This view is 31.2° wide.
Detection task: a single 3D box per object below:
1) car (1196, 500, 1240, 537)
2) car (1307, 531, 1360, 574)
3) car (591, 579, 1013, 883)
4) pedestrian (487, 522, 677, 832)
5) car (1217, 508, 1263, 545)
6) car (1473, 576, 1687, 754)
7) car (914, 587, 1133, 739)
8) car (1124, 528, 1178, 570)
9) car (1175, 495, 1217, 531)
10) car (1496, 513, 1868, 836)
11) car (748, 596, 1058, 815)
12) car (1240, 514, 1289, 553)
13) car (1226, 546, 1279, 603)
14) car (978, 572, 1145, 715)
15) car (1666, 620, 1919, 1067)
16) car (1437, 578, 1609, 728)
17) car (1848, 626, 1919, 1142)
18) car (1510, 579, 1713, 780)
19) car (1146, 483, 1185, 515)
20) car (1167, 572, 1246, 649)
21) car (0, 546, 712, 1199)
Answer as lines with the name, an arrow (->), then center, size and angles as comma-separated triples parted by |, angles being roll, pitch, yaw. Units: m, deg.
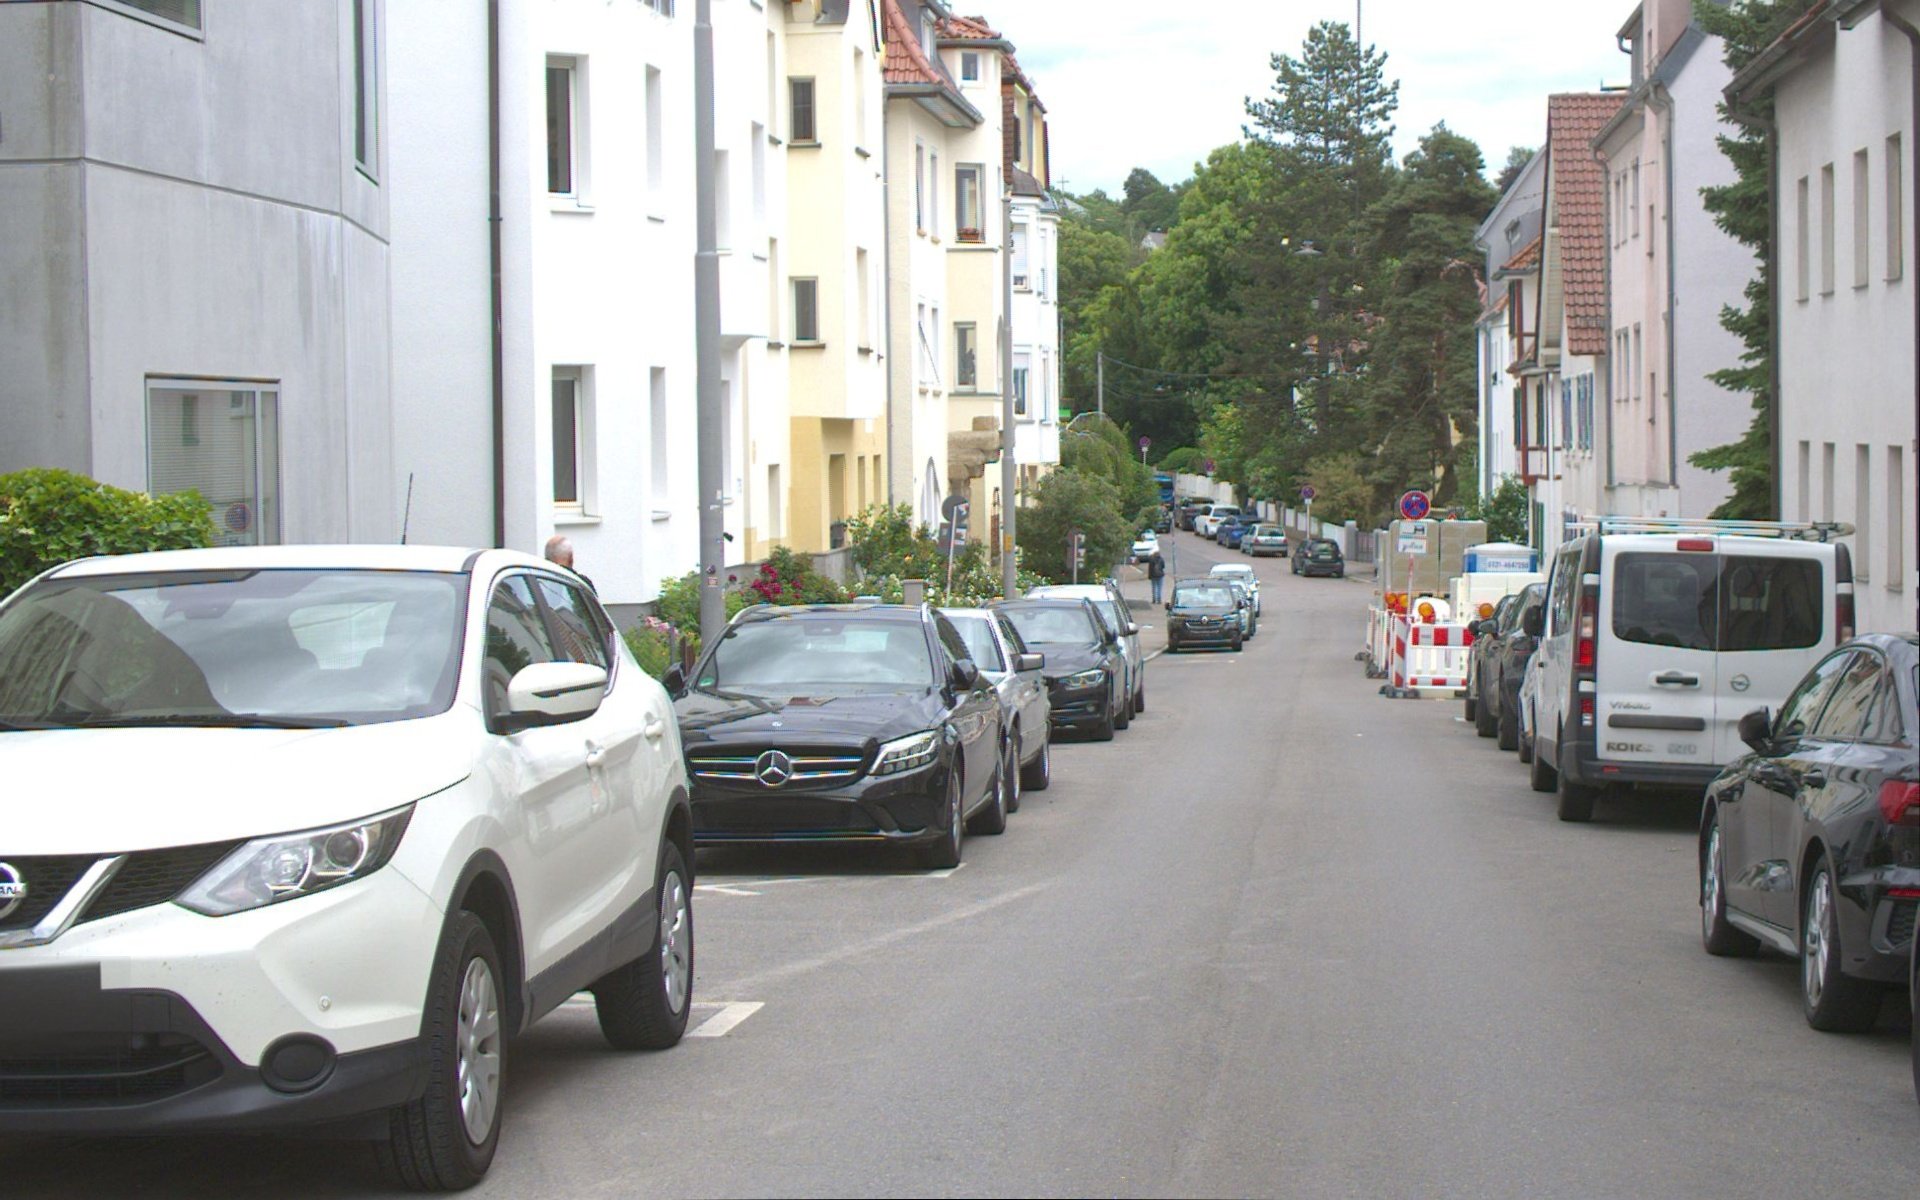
car -> 12.221, -3.869, 162.882 | 1.634, 1.532, 3.531 | 1, 4, -3
car -> 15.178, -1.949, 139.788 | 1.634, 1.479, 3.531 | 1, 4, -1
car -> -0.776, 0.656, 19.792 | 1.896, 1.522, 4.470 | 0, 1, 4
pedestrian -> -2.347, 0.463, 21.400 | 0.818, 1.878, 0.846 | -1, 0, 29
car -> 12.768, -3.351, 156.821 | 1.634, 1.479, 3.531 | 1, 4, -3
car -> 6.088, 0.585, 34.151 | 1.713, 1.591, 4.498 | 1, 1, 6
car -> 0.725, 0.617, 35.709 | 1.845, 1.452, 4.503 | -1, 0, 6
car -> 8.328, -2.230, 149.878 | 1.672, 1.651, 3.865 | -2, 3, -7
car -> 11.575, -4.277, 168.886 | 1.634, 1.532, 3.531 | 1, 4, -3
car -> 5.075, 0.437, 24.918 | 1.906, 2.023, 5.732 | 1, 1, 5
car -> -0.313, 0.703, 25.568 | 1.845, 1.408, 5.061 | 0, 1, 4
car -> 13.465, -2.957, 152.134 | 1.634, 1.479, 3.531 | 1, 4, -3
car -> 9.680, -0.859, 113.657 | 1.672, 1.651, 3.863 | -1, 3, 5
car -> 1.290, 0.489, 41.905 | 1.845, 1.625, 4.286 | 0, 1, 4
car -> 3.905, 0.808, 13.022 | 1.853, 1.399, 4.574 | 1, 0, 5
car -> 6.397, 0.566, 39.371 | 1.715, 1.560, 4.072 | 1, 1, 7
car -> 3.526, 0.828, 8.367 | 1.852, 1.398, 3.966 | 1, 1, 3
car -> 5.560, 0.638, 29.569 | 1.487, 1.591, 2.790 | 1, 1, 7
car -> 10.953, -5.389, 183.334 | 1.634, 1.532, 3.531 | 1, 4, -3
car -> 6.073, 0.241, 85.058 | 1.845, 1.809, 4.544 | -1, 0, 3
car -> -1.912, 0.618, 9.482 | 1.845, 1.510, 4.240 | 0, 1, 4
